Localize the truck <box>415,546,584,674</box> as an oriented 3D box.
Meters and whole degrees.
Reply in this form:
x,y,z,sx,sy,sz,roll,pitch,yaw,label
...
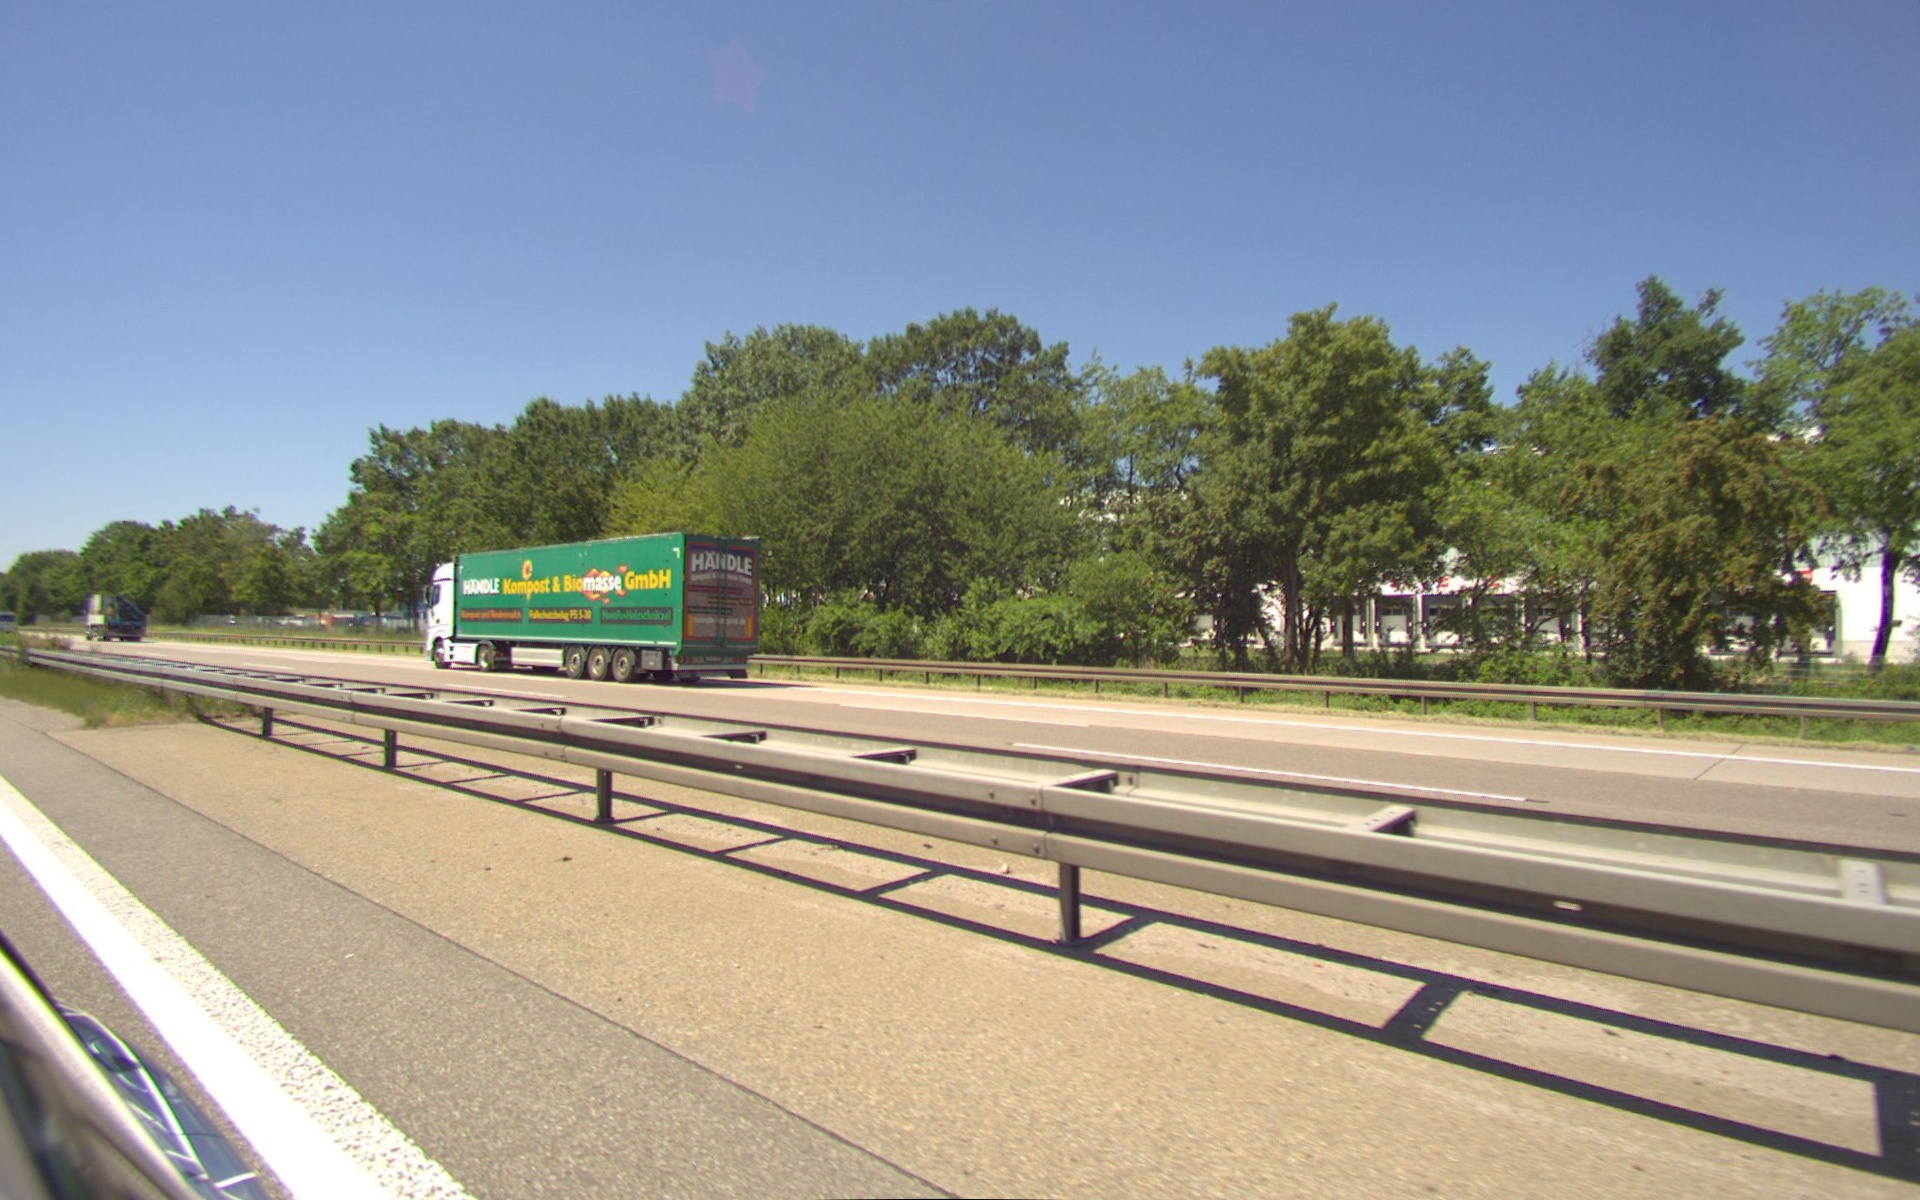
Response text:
x,y,z,sx,sy,sz,roll,pitch,yaw,label
-16.153,0.430,35.334,6.329,4.075,2.847,-1,-4,41,truck

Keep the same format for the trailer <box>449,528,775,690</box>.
x,y,z,sx,sy,sz,roll,pitch,yaw,label
-11.202,0.365,31.014,13.673,4.075,2.847,-1,-4,41,trailer

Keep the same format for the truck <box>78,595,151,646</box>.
x,y,z,sx,sy,sz,roll,pitch,yaw,label
-68.067,1.646,81.367,9.596,3.820,2.973,-1,-2,41,truck

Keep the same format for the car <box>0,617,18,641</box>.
x,y,z,sx,sy,sz,roll,pitch,yaw,label
-94.391,2.807,99.320,5.602,2.305,2.287,-1,-4,42,car
